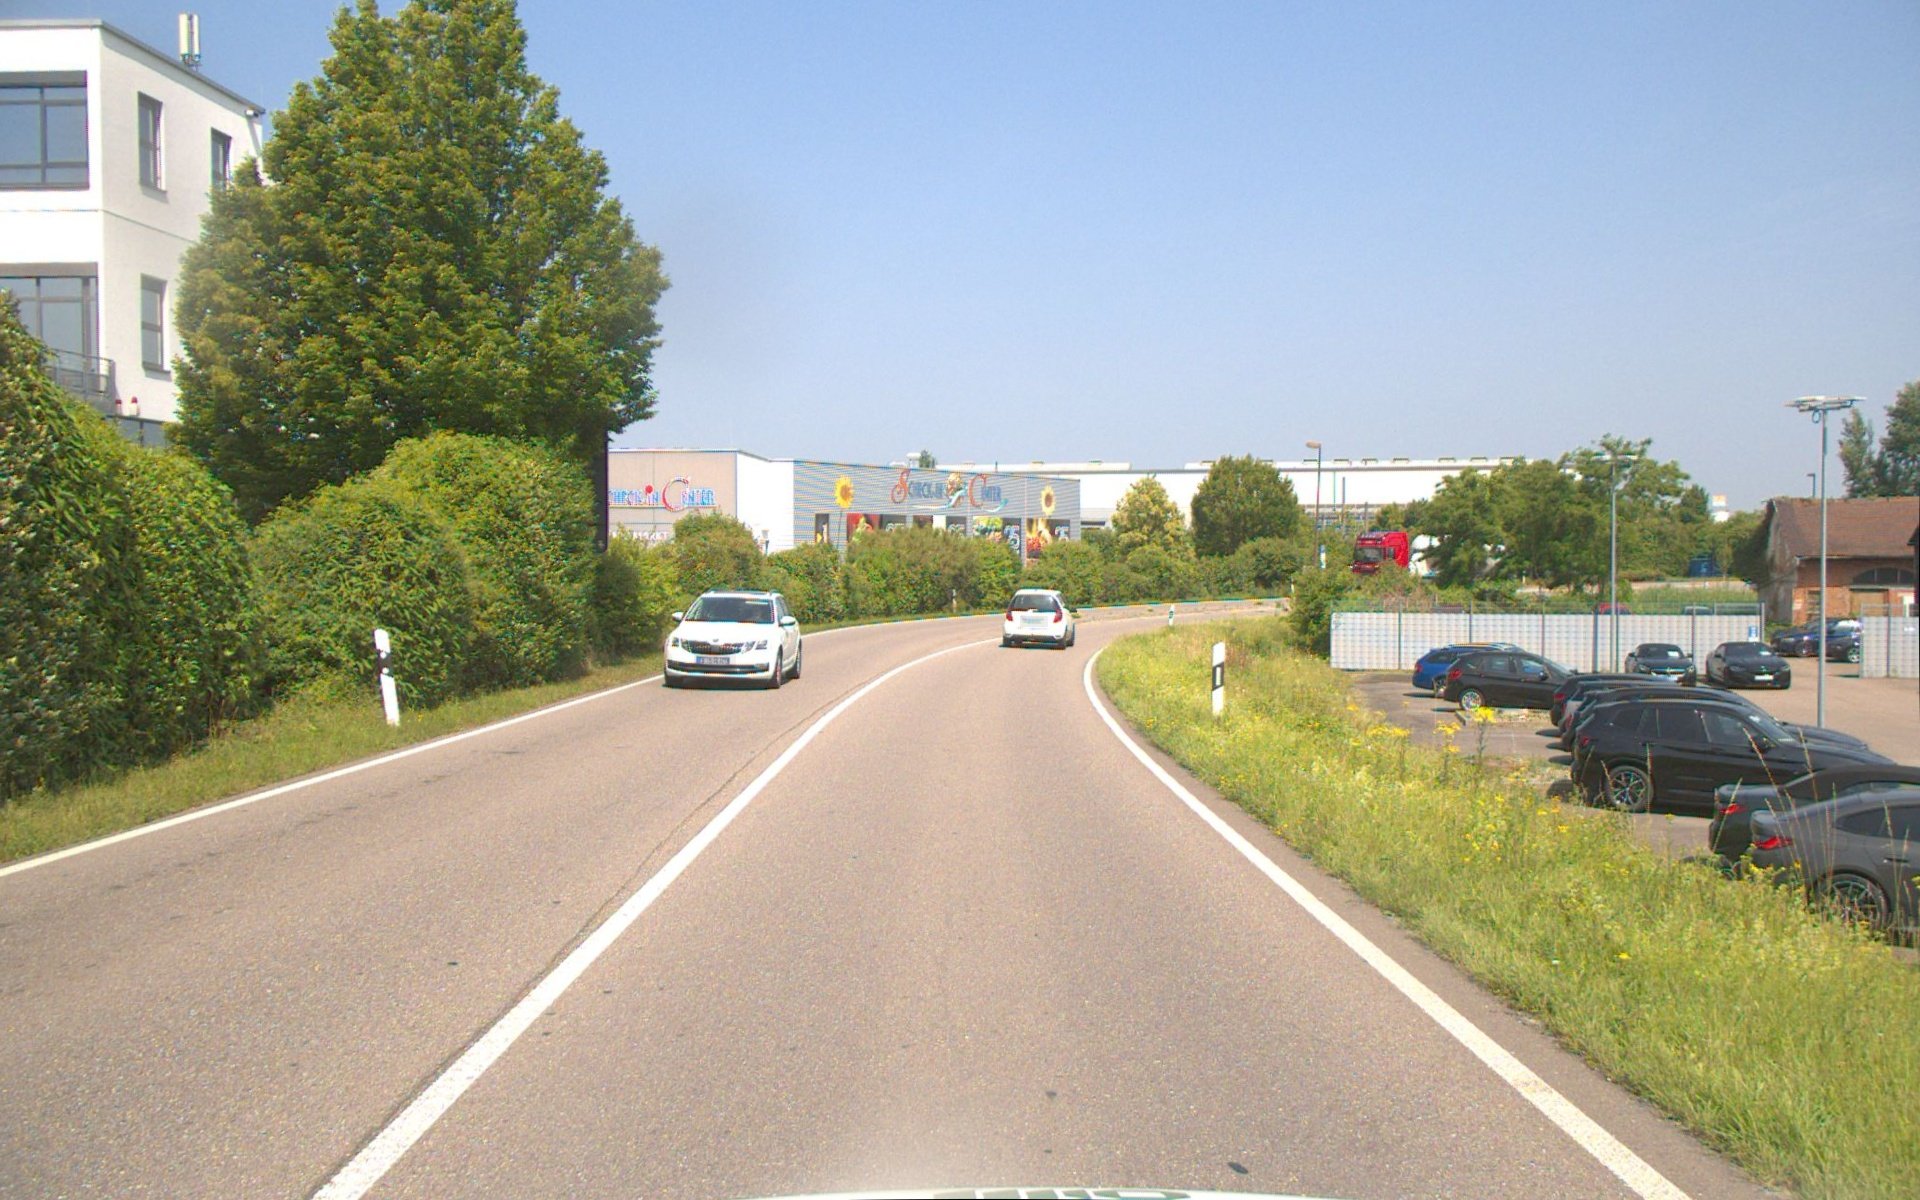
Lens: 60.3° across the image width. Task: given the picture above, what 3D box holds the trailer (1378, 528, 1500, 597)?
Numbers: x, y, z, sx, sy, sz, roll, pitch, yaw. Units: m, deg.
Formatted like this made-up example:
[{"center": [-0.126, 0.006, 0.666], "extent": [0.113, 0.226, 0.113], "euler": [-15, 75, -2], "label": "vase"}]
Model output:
[{"center": [30.785, -2.360, 106.064], "extent": [8.599, 4.101, 2.852], "euler": [1, 0, -36], "label": "trailer"}]

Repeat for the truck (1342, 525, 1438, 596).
[{"center": [26.733, -2.402, 102.653], "extent": [2.842, 4.101, 6.675], "euler": [1, 0, 44], "label": "truck"}]

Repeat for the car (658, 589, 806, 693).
[{"center": [-3.557, 0.598, 26.552], "extent": [1.791, 1.496, 4.409], "euler": [1, 0, -1], "label": "car"}]

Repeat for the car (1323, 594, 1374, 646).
[{"center": [15.910, 0.805, 67.825], "extent": [1.951, 2.049, 4.003], "euler": [1, 0, 13], "label": "car"}]

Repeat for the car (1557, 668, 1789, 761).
[{"center": [14.557, 2.296, 33.852], "extent": [4.068, 1.519, 1.824], "euler": [2, 1, 36], "label": "car"}]

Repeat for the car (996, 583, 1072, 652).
[{"center": [2.039, 0.449, 46.381], "extent": [1.745, 1.630, 3.893], "euler": [5, 1, -1], "label": "car"}]

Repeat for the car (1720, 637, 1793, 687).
[{"center": [25.577, 1.949, 53.205], "extent": [1.954, 1.422, 3.998], "euler": [1, 0, 24], "label": "car"}]

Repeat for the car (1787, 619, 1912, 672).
[{"center": [32.118, 1.614, 59.819], "extent": [3.659, 1.780, 1.675], "euler": [1, 0, 16], "label": "car"}]

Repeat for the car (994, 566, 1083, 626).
[{"center": [2.883, -0.140, 59.944], "extent": [1.953, 2.049, 3.999], "euler": [1, 0, 22], "label": "car"}]

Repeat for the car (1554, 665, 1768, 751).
[{"center": [15.257, 2.298, 36.089], "extent": [3.961, 1.467, 1.765], "euler": [2, 3, 40], "label": "car"}]

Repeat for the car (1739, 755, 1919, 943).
[{"center": [10.044, 2.523, 16.439], "extent": [4.079, 1.549, 1.854], "euler": [1, 0, 28], "label": "car"}]

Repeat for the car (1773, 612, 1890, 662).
[{"center": [33.123, 1.389, 62.957], "extent": [3.660, 1.780, 1.674], "euler": [1, 0, 19], "label": "car"}]

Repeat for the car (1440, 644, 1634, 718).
[{"center": [14.924, 2.053, 42.822], "extent": [4.539, 1.633, 1.854], "euler": [1, 1, 28], "label": "car"}]

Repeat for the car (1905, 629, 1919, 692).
[{"center": [30.476, 1.821, 48.805], "extent": [4.248, 1.835, 1.993], "euler": [0, 1, -12], "label": "car"}]

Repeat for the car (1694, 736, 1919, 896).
[{"center": [11.251, 2.576, 19.511], "extent": [4.543, 1.549, 1.852], "euler": [1, 0, 31], "label": "car"}]

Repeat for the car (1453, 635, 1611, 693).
[{"center": [17.802, 1.961, 51.555], "extent": [4.297, 1.529, 1.831], "euler": [2, 2, 43], "label": "car"}]

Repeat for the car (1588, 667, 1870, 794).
[{"center": [13.259, 2.174, 28.605], "extent": [4.152, 1.730, 1.912], "euler": [2, 2, 36], "label": "car"}]

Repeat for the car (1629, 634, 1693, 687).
[{"center": [22.896, 1.930, 53.931], "extent": [1.813, 1.561, 4.641], "euler": [1, 0, 24], "label": "car"}]

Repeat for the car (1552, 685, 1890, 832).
[{"center": [11.713, 2.361, 25.570], "extent": [4.546, 1.730, 1.852], "euler": [1, 2, 33], "label": "car"}]

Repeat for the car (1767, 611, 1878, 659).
[{"center": [34.293, 1.375, 65.856], "extent": [3.660, 1.780, 1.674], "euler": [1, 0, 19], "label": "car"}]

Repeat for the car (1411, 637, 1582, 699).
[{"center": [15.820, 1.980, 48.832], "extent": [4.543, 1.524, 1.853], "euler": [1, 2, 31], "label": "car"}]
